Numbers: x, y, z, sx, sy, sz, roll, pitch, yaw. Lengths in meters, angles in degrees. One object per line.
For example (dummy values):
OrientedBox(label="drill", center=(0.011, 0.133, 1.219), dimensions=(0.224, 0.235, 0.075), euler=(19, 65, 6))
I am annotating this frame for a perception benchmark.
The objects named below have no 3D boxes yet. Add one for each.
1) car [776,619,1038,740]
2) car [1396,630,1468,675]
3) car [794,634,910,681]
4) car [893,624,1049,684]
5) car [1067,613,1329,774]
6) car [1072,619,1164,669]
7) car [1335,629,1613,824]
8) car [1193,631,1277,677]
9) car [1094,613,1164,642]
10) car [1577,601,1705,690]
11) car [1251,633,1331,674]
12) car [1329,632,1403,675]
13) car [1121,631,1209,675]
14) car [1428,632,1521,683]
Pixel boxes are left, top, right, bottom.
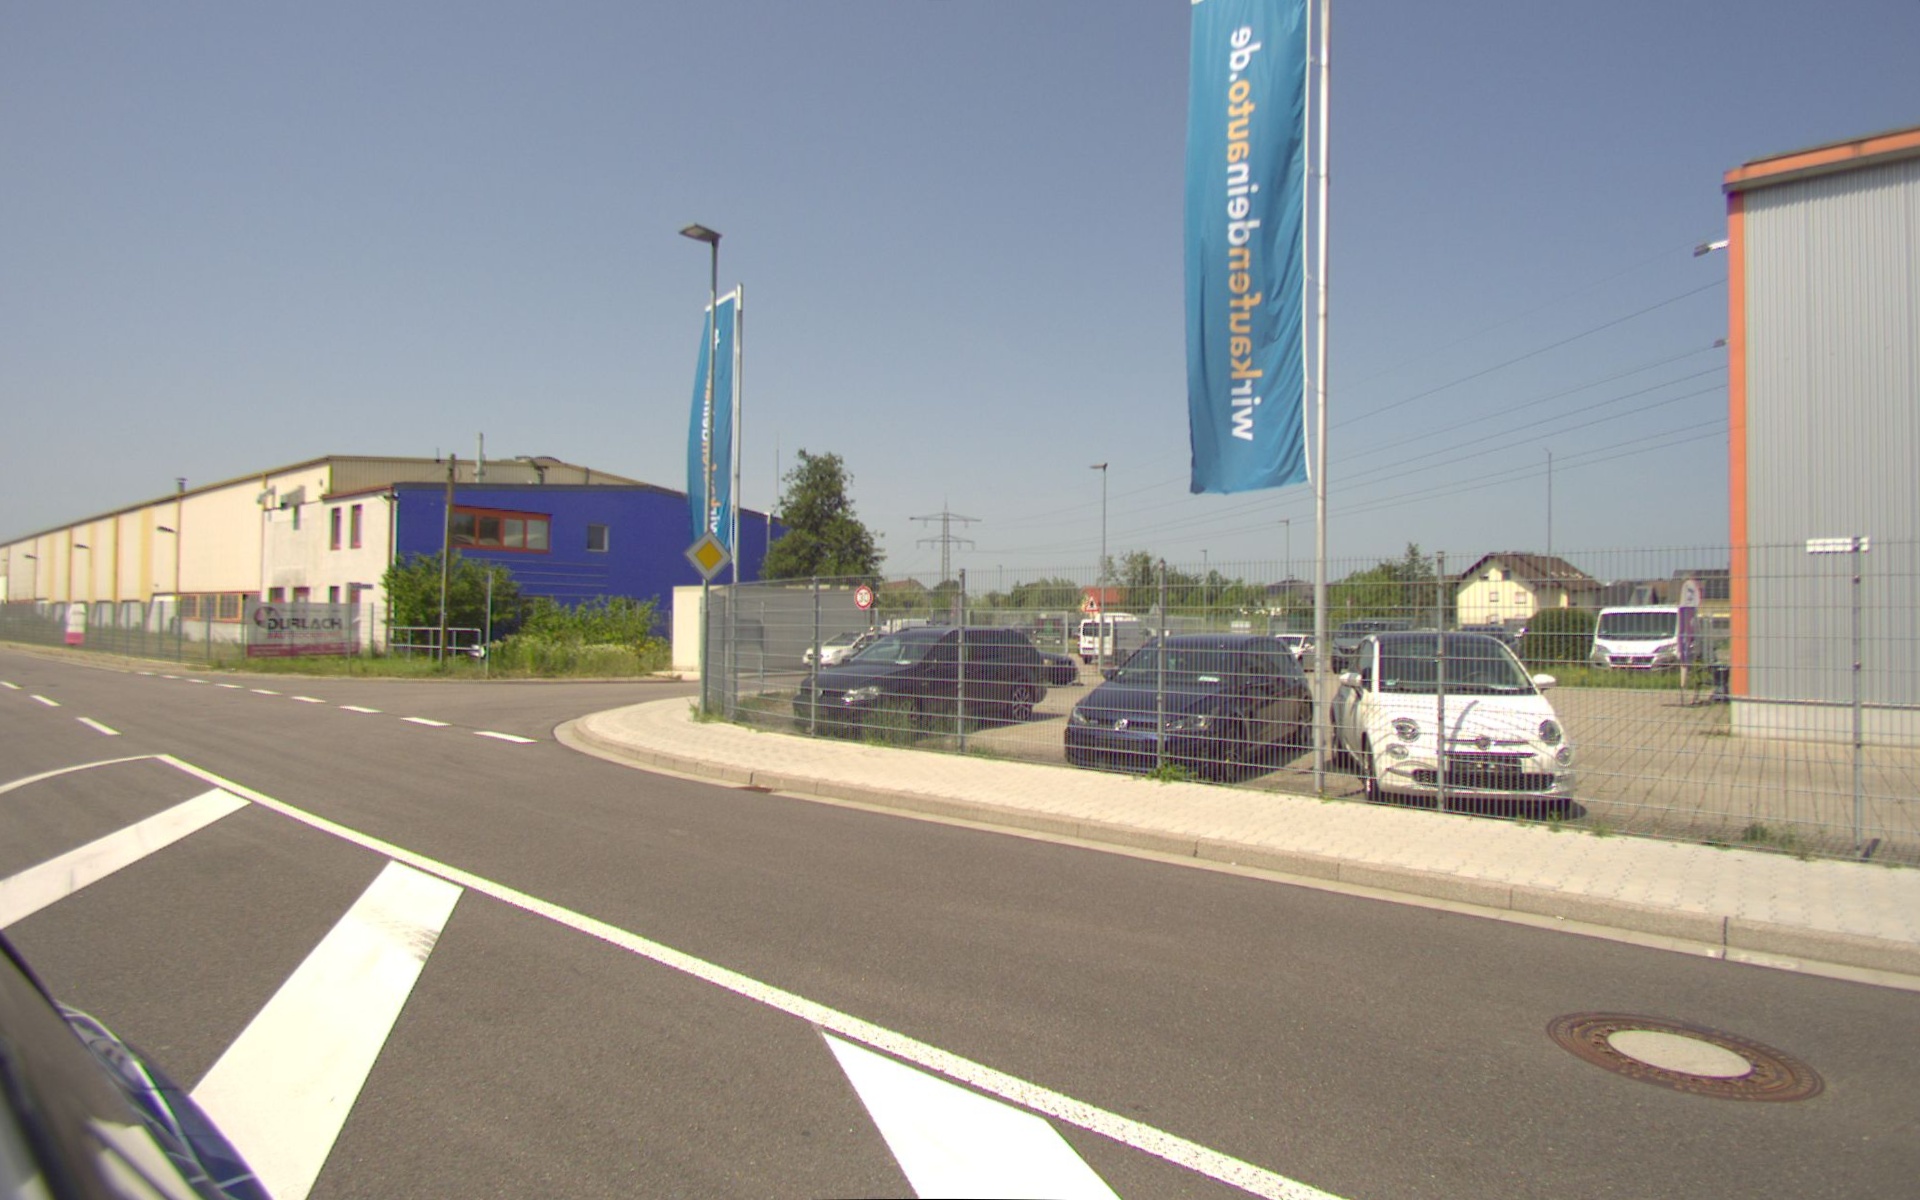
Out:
OrientedBox(label="car", center=(-0.638, 1.090, 14.920), dimensions=(1.771, 1.514, 3.951), euler=(-1, -3, 36))
OrientedBox(label="car", center=(17.082, 1.885, 36.530), dimensions=(1.770, 1.514, 3.954), euler=(-2, -3, 34))
OrientedBox(label="car", center=(-3.691, 1.943, 35.171), dimensions=(1.771, 1.514, 4.112), euler=(-1, -2, 35))
OrientedBox(label="car", center=(0.252, 1.430, 27.220), dimensions=(3.995, 1.514, 1.752), euler=(-2, -3, 39))
OrientedBox(label="car", center=(2.894, 0.963, 11.661), dimensions=(1.769, 1.514, 3.956), euler=(-1, -3, 32))
OrientedBox(label="car", center=(7.131, 1.963, 45.295), dimensions=(2.006, 2.076, 4.751), euler=(0, -2, 38))
OrientedBox(label="car", center=(4.606, 1.014, 9.588), dimensions=(1.575, 1.476, 3.471), euler=(0, -2, 14))
OrientedBox(label="car", center=(9.846, 1.903, 36.044), dimensions=(1.770, 1.514, 3.767), euler=(-2, -3, 34))
OrientedBox(label="car", center=(12.018, 1.976, 71.934), dimensions=(4.621, 2.029, 1.986), euler=(-1, -3, 22))
OrientedBox(label="car", center=(18.567, 1.232, 27.522), dimensions=(4.257, 2.212, 2.002), euler=(3, -3, -44))
OrientedBox(label="car", center=(12.915, 2.049, 39.400), dimensions=(1.772, 1.514, 3.950), euler=(-2, -3, 37))
OrientedBox(label="car", center=(15.067, 1.962, 37.464), dimensions=(1.770, 1.514, 3.954), euler=(-2, -3, 34))
OrientedBox(label="car", center=(7.497, 1.916, 36.785), dimensions=(1.770, 1.514, 3.954), euler=(-2, -3, 34))
OrientedBox(label="car", center=(15.711, 1.712, 30.830), dimensions=(1.870, 1.431, 4.026), euler=(-1, -3, 36))
